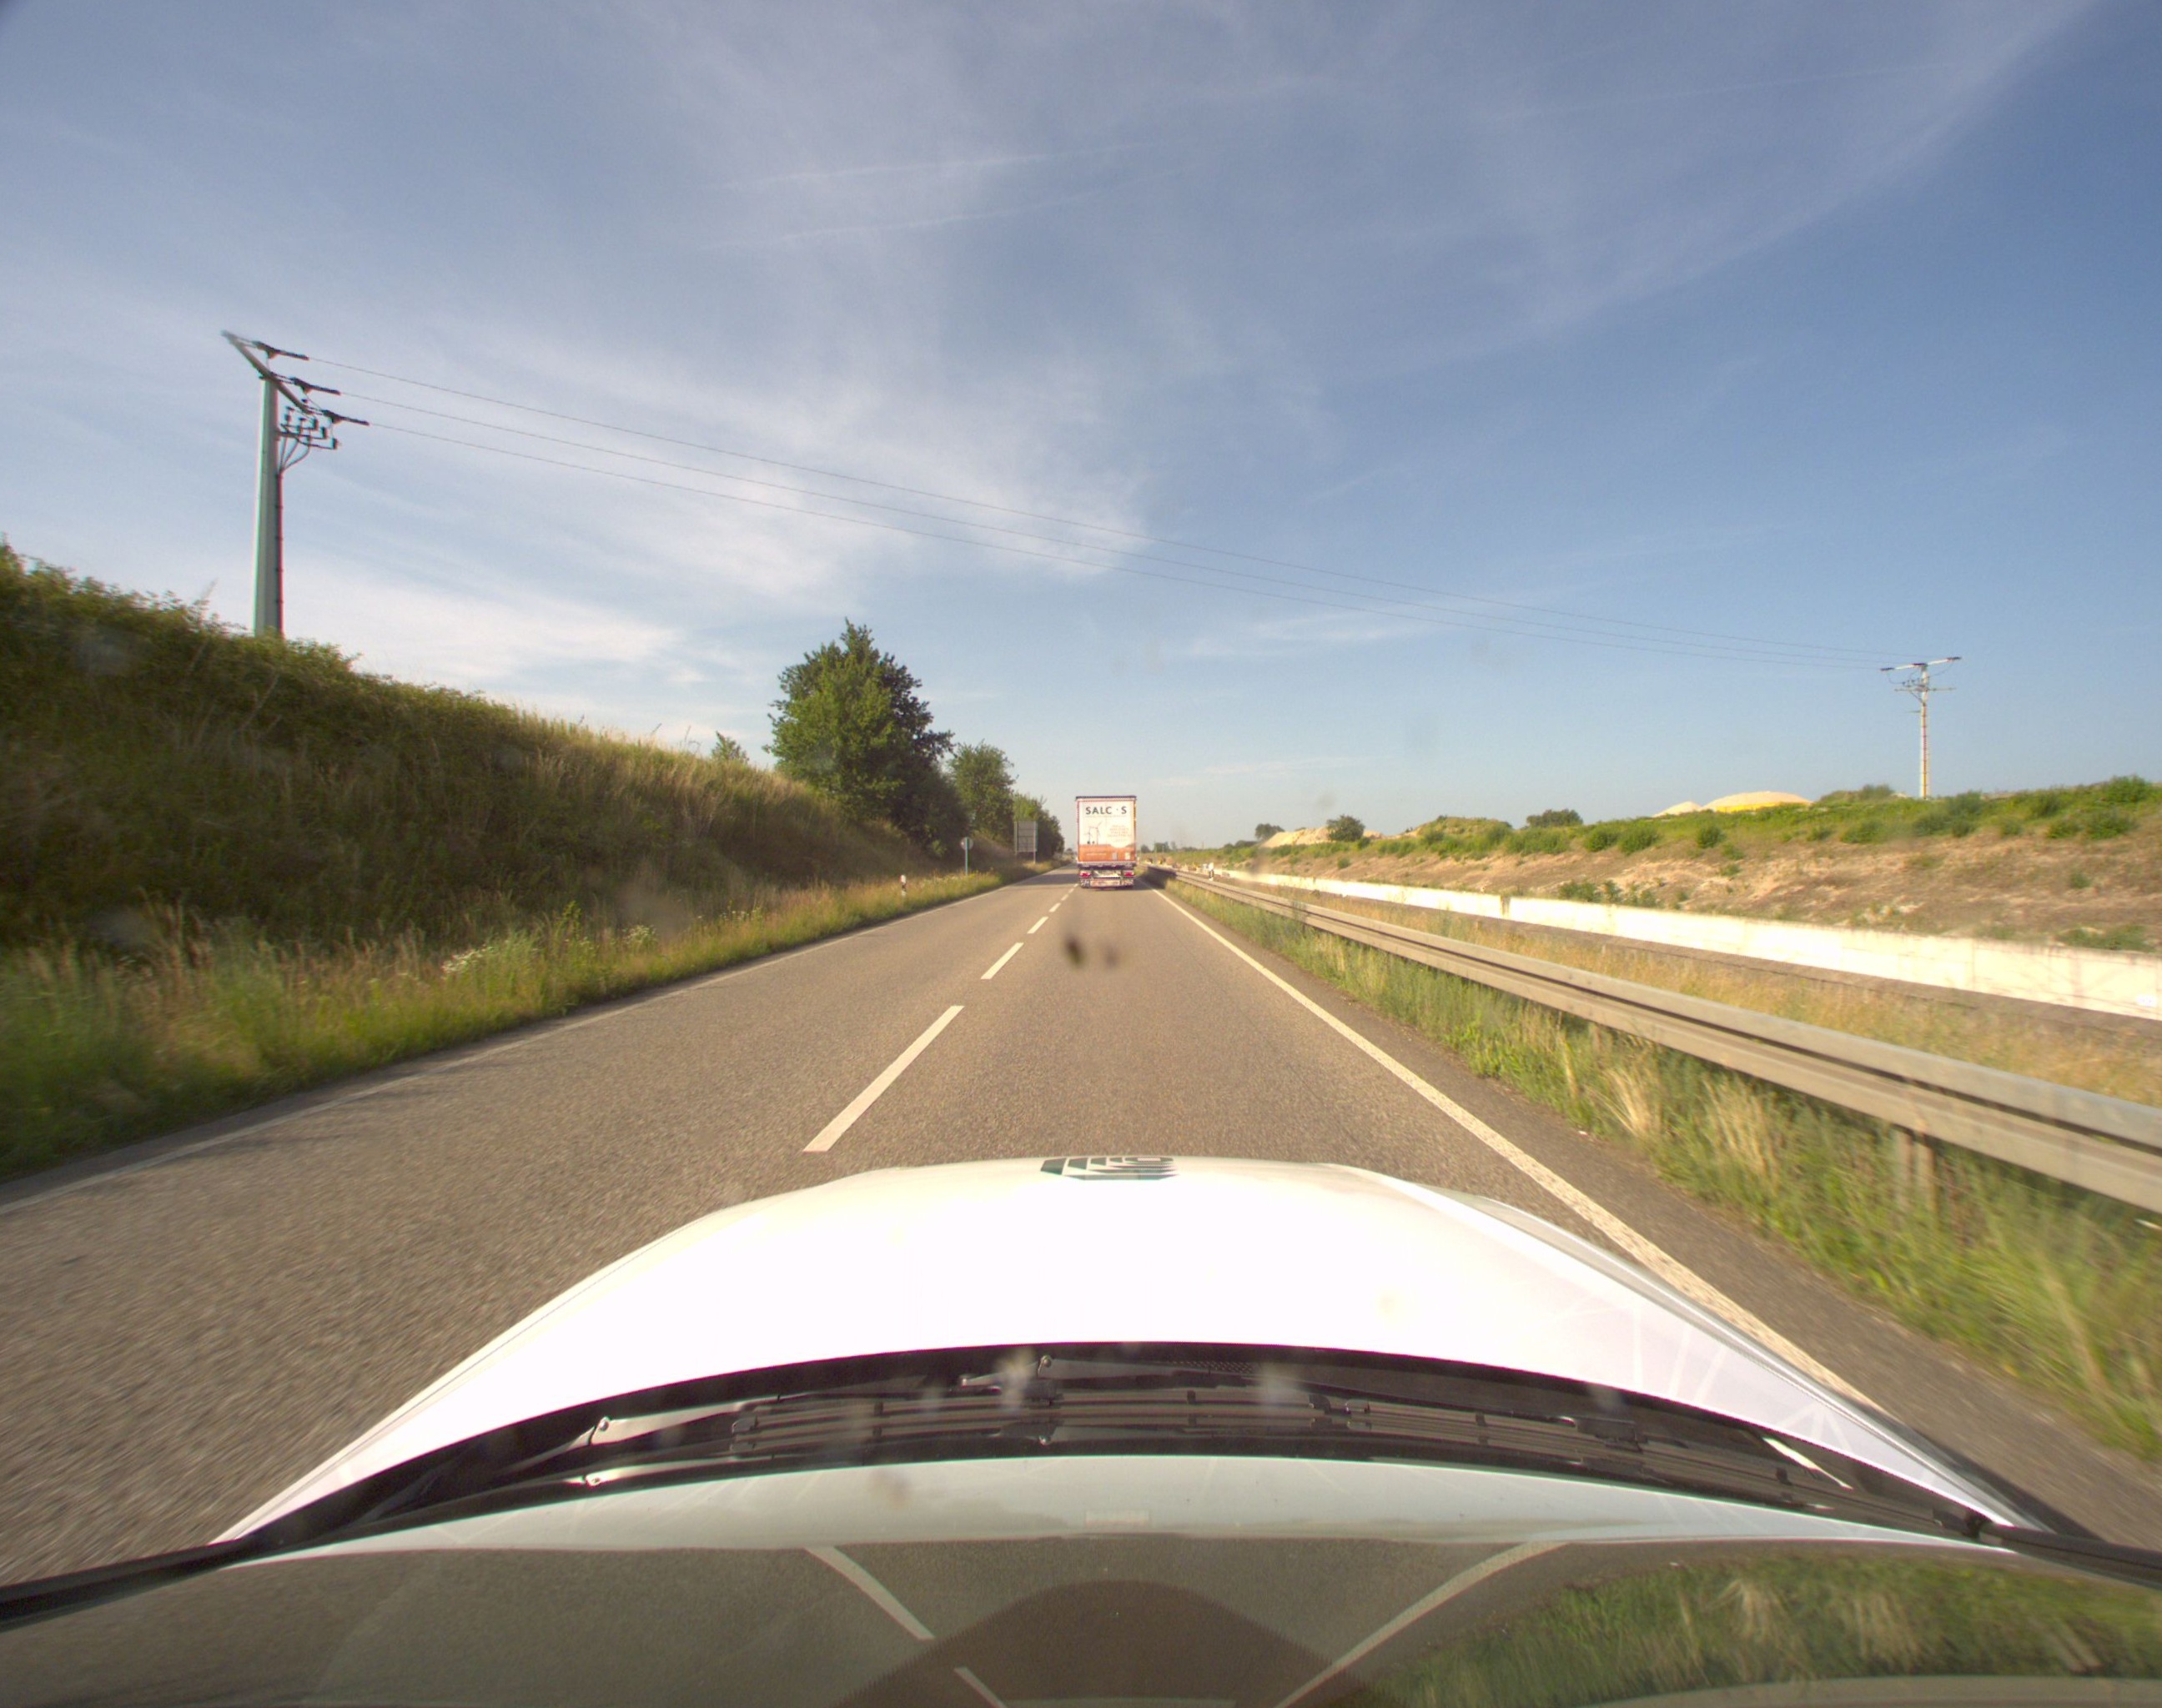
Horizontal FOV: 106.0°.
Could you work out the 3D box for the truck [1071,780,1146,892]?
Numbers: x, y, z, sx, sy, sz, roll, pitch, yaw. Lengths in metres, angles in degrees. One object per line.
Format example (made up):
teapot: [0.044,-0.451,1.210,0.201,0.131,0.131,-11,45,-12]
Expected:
truck: [1.214,-0.753,38.991,3.142,4.688,8.441,-1,0,0]
